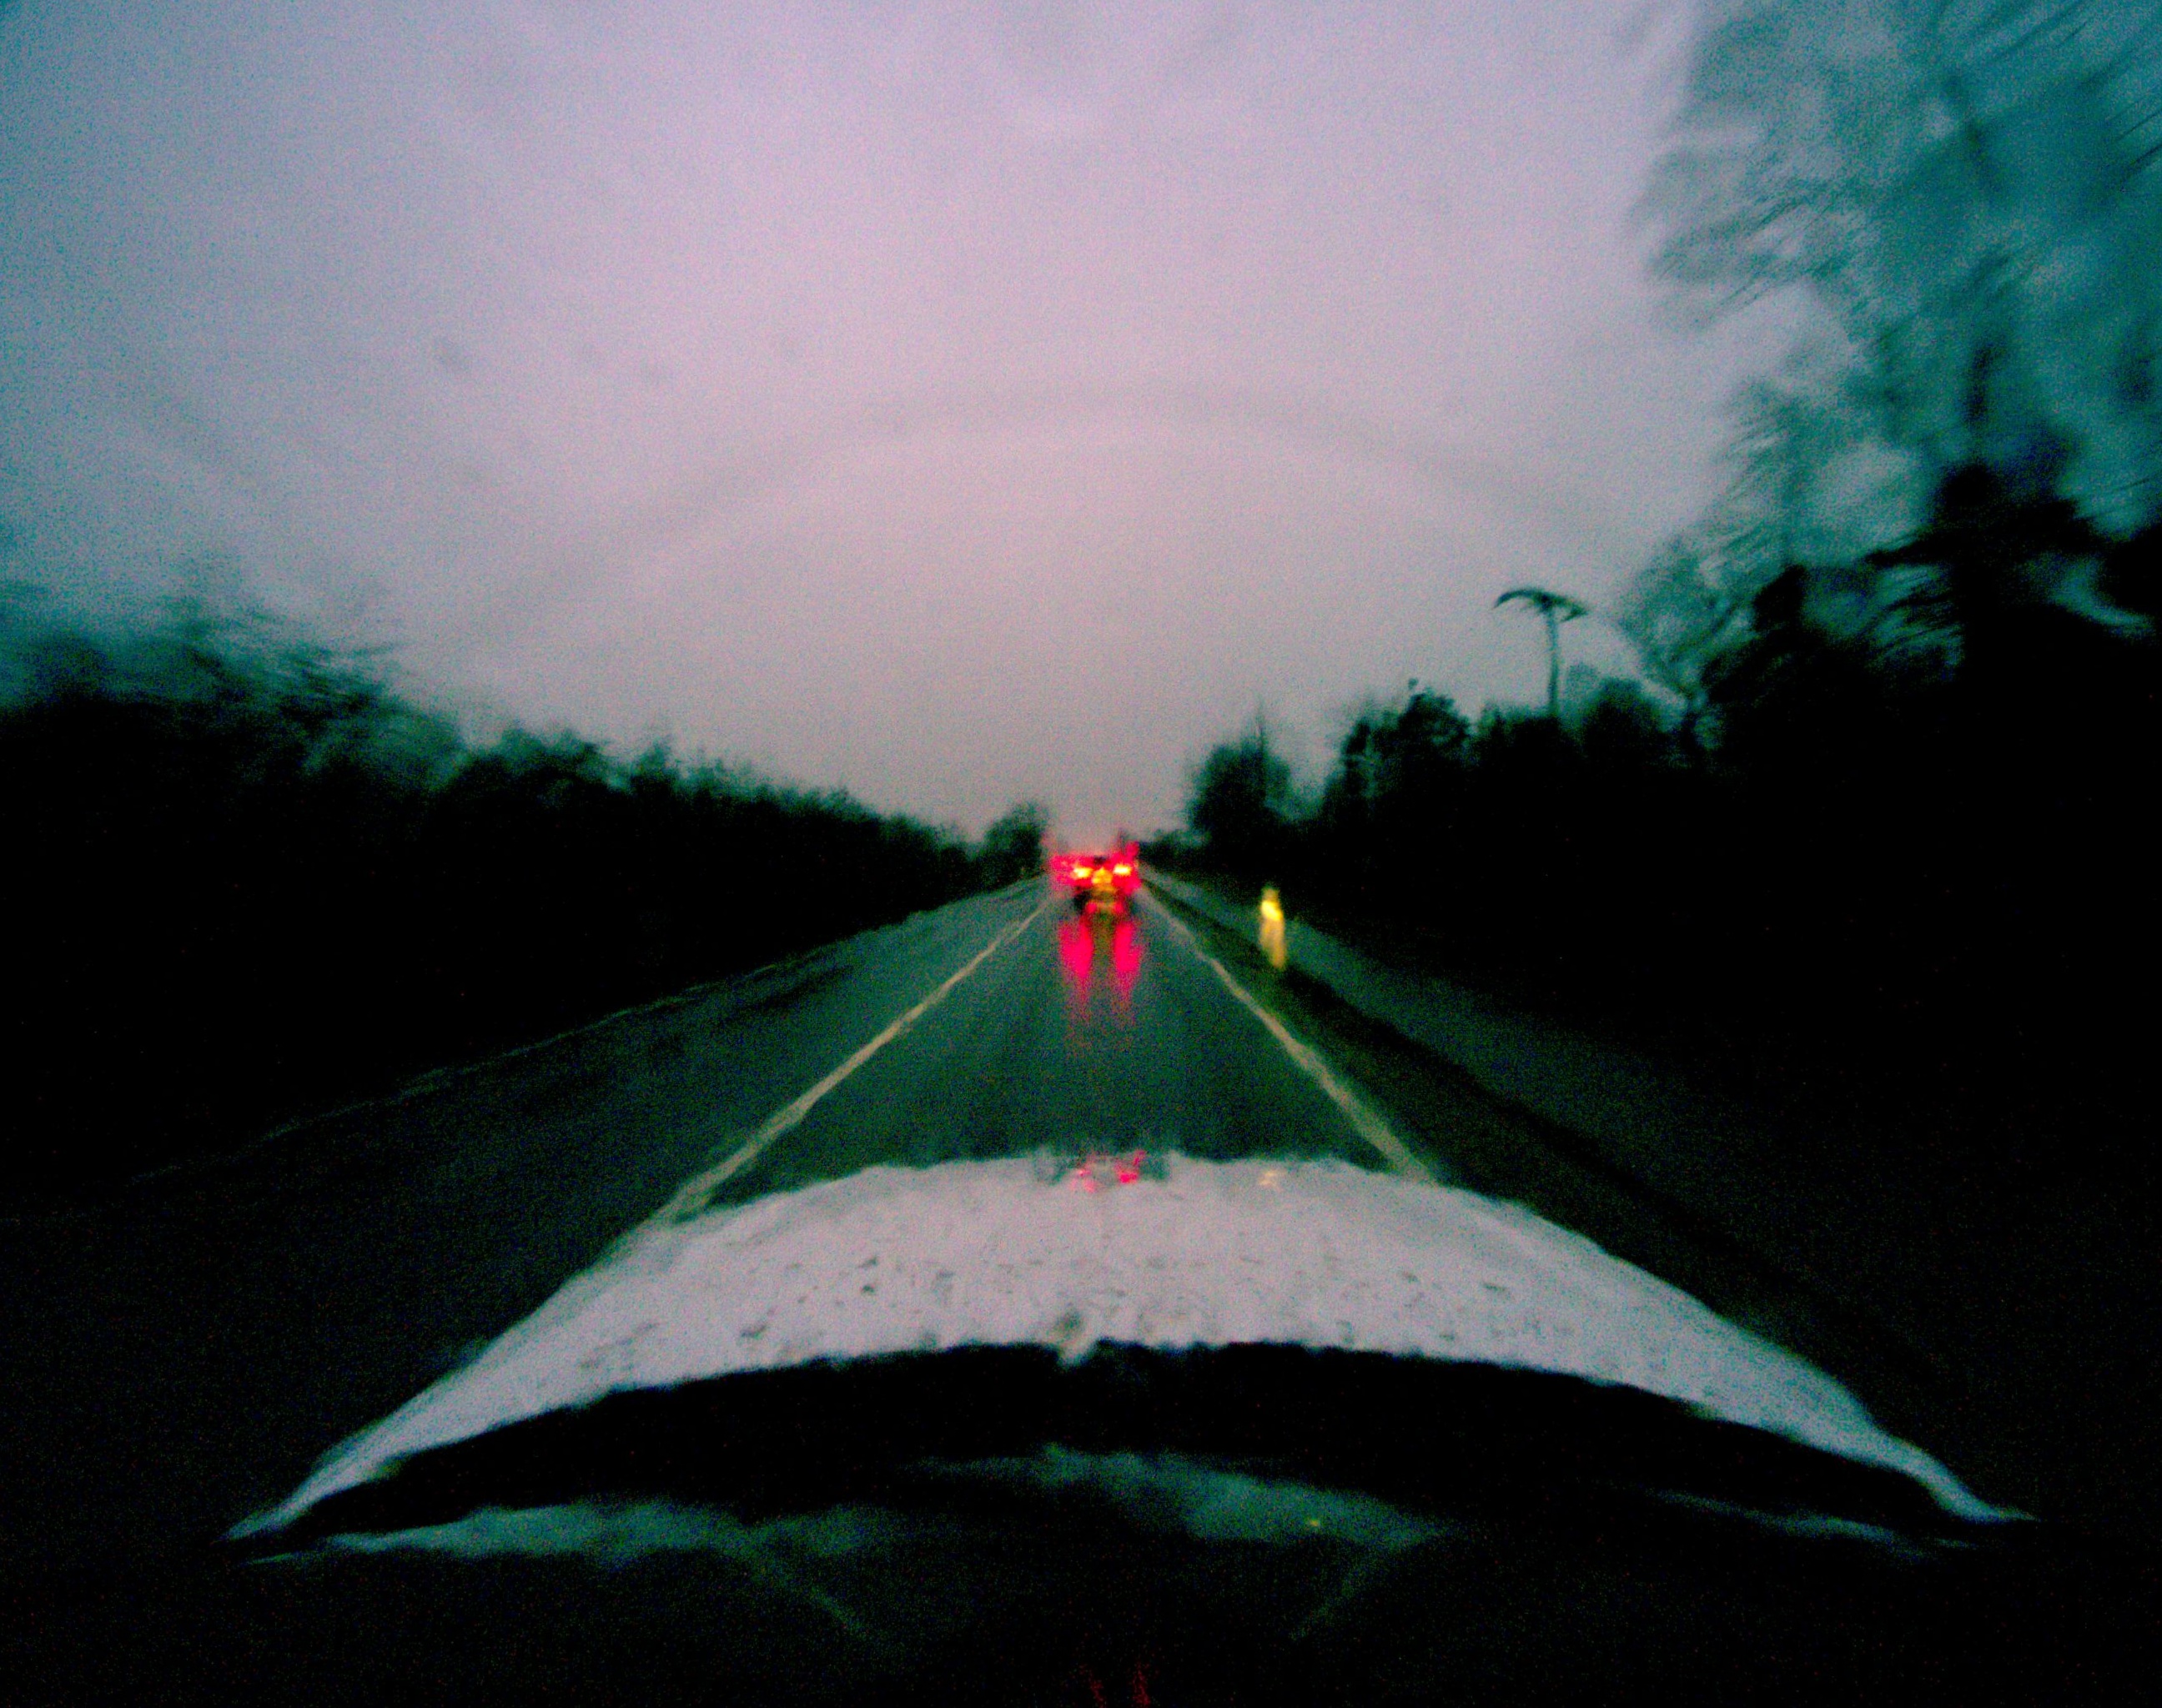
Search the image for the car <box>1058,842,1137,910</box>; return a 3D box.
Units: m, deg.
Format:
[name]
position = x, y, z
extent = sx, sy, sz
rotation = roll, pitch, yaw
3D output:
[car]
position = 0.533, 0.595, 24.516
extent = 2.112, 1.820, 4.982
rotation = -1, 0, 2
